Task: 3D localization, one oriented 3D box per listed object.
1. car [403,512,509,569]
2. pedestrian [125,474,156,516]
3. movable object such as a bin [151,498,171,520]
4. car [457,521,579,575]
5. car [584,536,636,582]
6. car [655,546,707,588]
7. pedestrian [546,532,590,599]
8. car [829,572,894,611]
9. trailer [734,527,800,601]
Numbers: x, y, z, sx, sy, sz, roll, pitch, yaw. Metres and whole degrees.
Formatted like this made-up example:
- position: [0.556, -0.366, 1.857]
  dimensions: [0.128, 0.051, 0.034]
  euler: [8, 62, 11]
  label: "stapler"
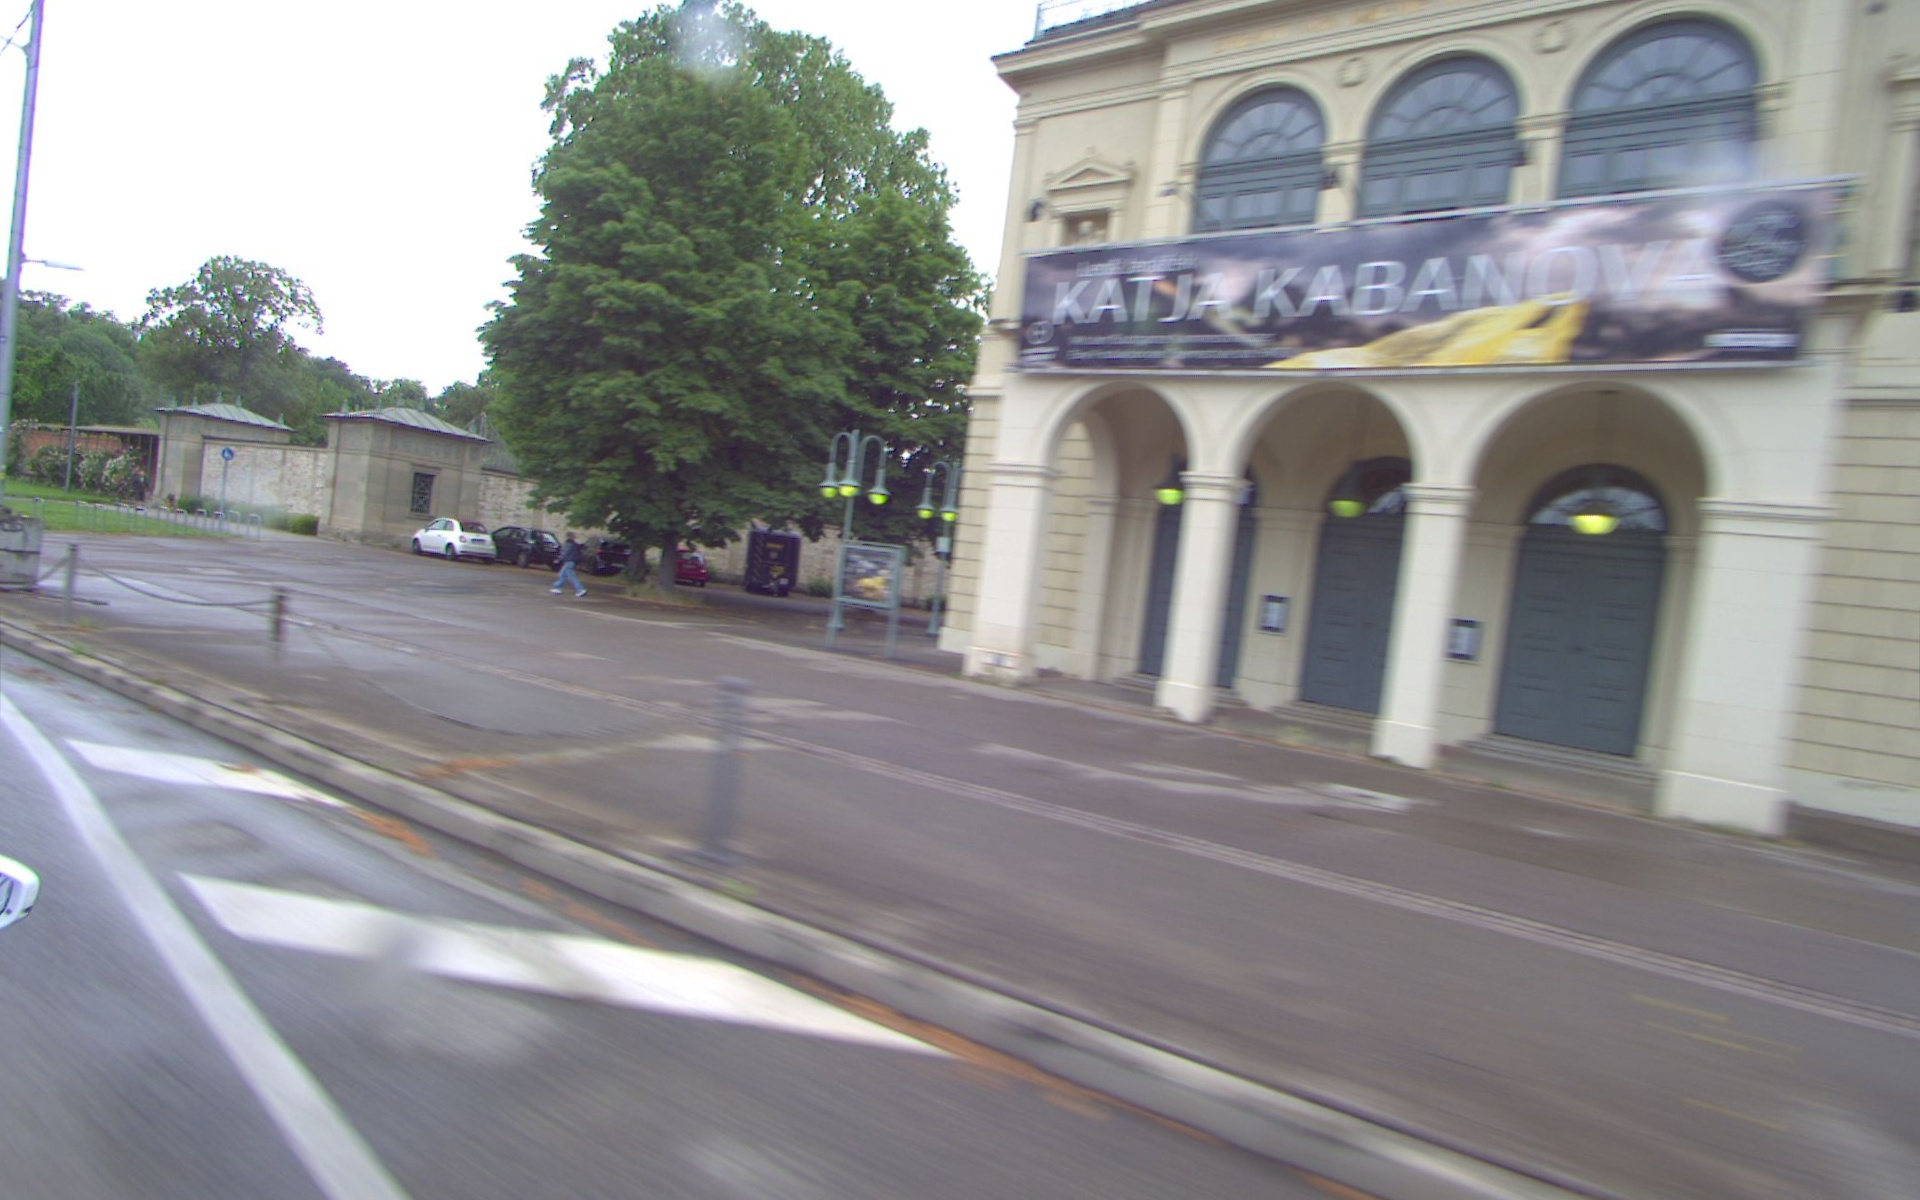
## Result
- position: [-18.433, -2.180, 36.764]
  dimensions: [3.539, 1.474, 1.837]
  euler: [10, 3, 33]
  label: "car"
- position: [-36.563, -4.702, 44.887]
  dimensions: [0.966, 1.733, 0.728]
  euler: [8, 2, 35]
  label: "pedestrian"
- position: [-35.944, -4.113, 45.250]
  dimensions: [1.173, 0.883, 0.342]
  euler: [8, 2, 35]
  label: "movable object such as a bin"
- position: [-17.022, -2.010, 38.786]
  dimensions: [4.112, 1.509, 1.898]
  euler: [8, 2, 22]
  label: "car"
- position: [-14.351, -1.717, 41.156]
  dimensions: [1.752, 1.547, 4.079]
  euler: [7, 2, -21]
  label: "car"
- position: [-12.124, -1.450, 43.573]
  dimensions: [1.658, 1.461, 4.129]
  euler: [6, 2, -21]
  label: "car"
- position: [-10.104, -0.897, 25.902]
  dimensions: [0.855, 1.612, 0.663]
  euler: [4, 3, -30]
  label: "pedestrian"
- position: [-4.276, -0.370, 44.159]
  dimensions: [1.708, 1.426, 4.277]
  euler: [8, 2, 8]
  label: "car"
- position: [-8.542, -1.629, 44.125]
  dimensions: [2.115, 2.822, 5.633]
  euler: [7, 2, -16]
  label: "trailer"
